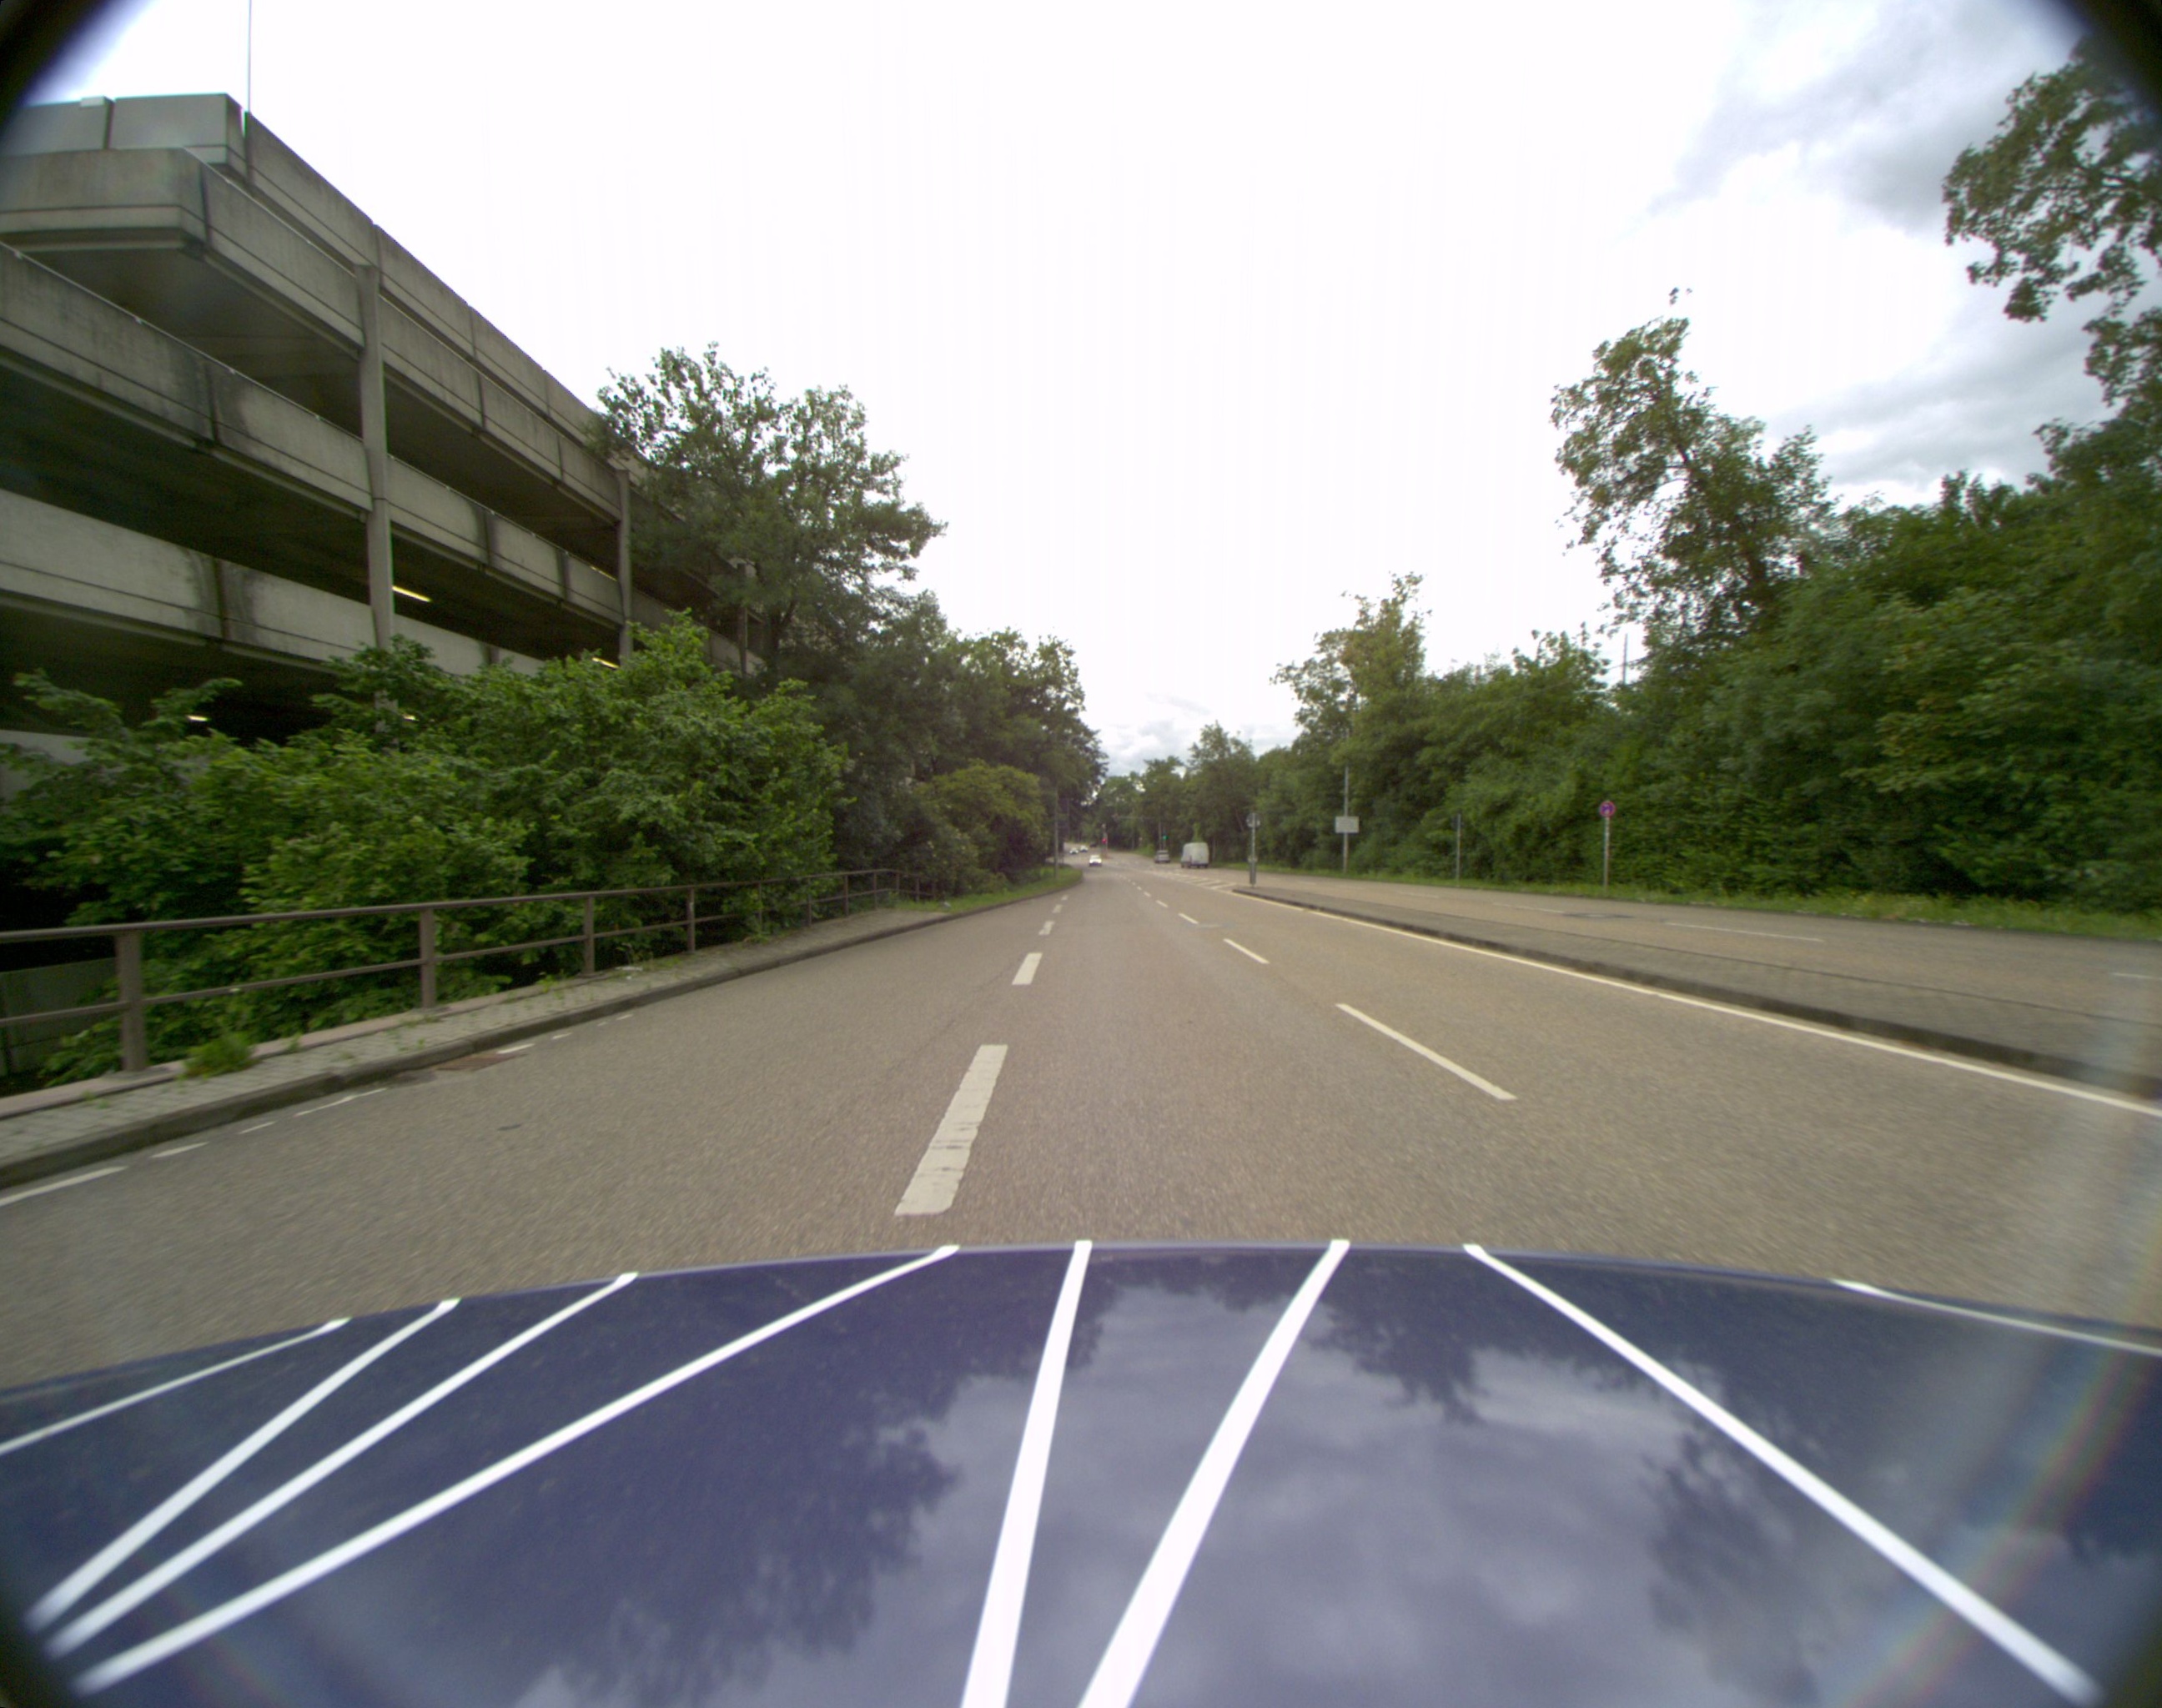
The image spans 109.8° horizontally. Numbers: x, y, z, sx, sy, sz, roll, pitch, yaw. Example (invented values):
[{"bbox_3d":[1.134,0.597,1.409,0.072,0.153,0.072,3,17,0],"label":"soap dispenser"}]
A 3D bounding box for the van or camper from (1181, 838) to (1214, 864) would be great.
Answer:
[{"bbox_3d":[12.125,-0.335,79.537,2.288,2.540,6.858,-1,0,0],"label":"van or camper"}]

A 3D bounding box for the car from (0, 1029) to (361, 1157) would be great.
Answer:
[{"bbox_3d":[-15.718,4.029,13.048,4.664,1.422,1.999,-1,3,-1],"label":"car"}]

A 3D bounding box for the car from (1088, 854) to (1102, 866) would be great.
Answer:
[{"bbox_3d":[1.858,0.758,101.158,1.854,1.470,4.509,-3,0,1],"label":"car"}]

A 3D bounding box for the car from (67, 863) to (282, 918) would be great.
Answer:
[{"bbox_3d":[-26.825,1.054,22.611,3.997,1.471,1.875,0,3,-1],"label":"car"}]

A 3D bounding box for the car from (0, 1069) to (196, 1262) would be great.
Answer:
[{"bbox_3d":[-15.657,4.152,10.310,4.757,1.775,1.999,-1,2,-1],"label":"car"}]

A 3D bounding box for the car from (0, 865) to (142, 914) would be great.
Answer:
[{"bbox_3d":[-32.152,1.096,23.587,3.680,1.412,1.717,-1,0,-3],"label":"car"}]

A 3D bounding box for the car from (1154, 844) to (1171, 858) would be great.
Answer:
[{"bbox_3d":[11.567,-0.390,107.556,1.818,1.819,4.383,0,0,-2],"label":"car"}]
